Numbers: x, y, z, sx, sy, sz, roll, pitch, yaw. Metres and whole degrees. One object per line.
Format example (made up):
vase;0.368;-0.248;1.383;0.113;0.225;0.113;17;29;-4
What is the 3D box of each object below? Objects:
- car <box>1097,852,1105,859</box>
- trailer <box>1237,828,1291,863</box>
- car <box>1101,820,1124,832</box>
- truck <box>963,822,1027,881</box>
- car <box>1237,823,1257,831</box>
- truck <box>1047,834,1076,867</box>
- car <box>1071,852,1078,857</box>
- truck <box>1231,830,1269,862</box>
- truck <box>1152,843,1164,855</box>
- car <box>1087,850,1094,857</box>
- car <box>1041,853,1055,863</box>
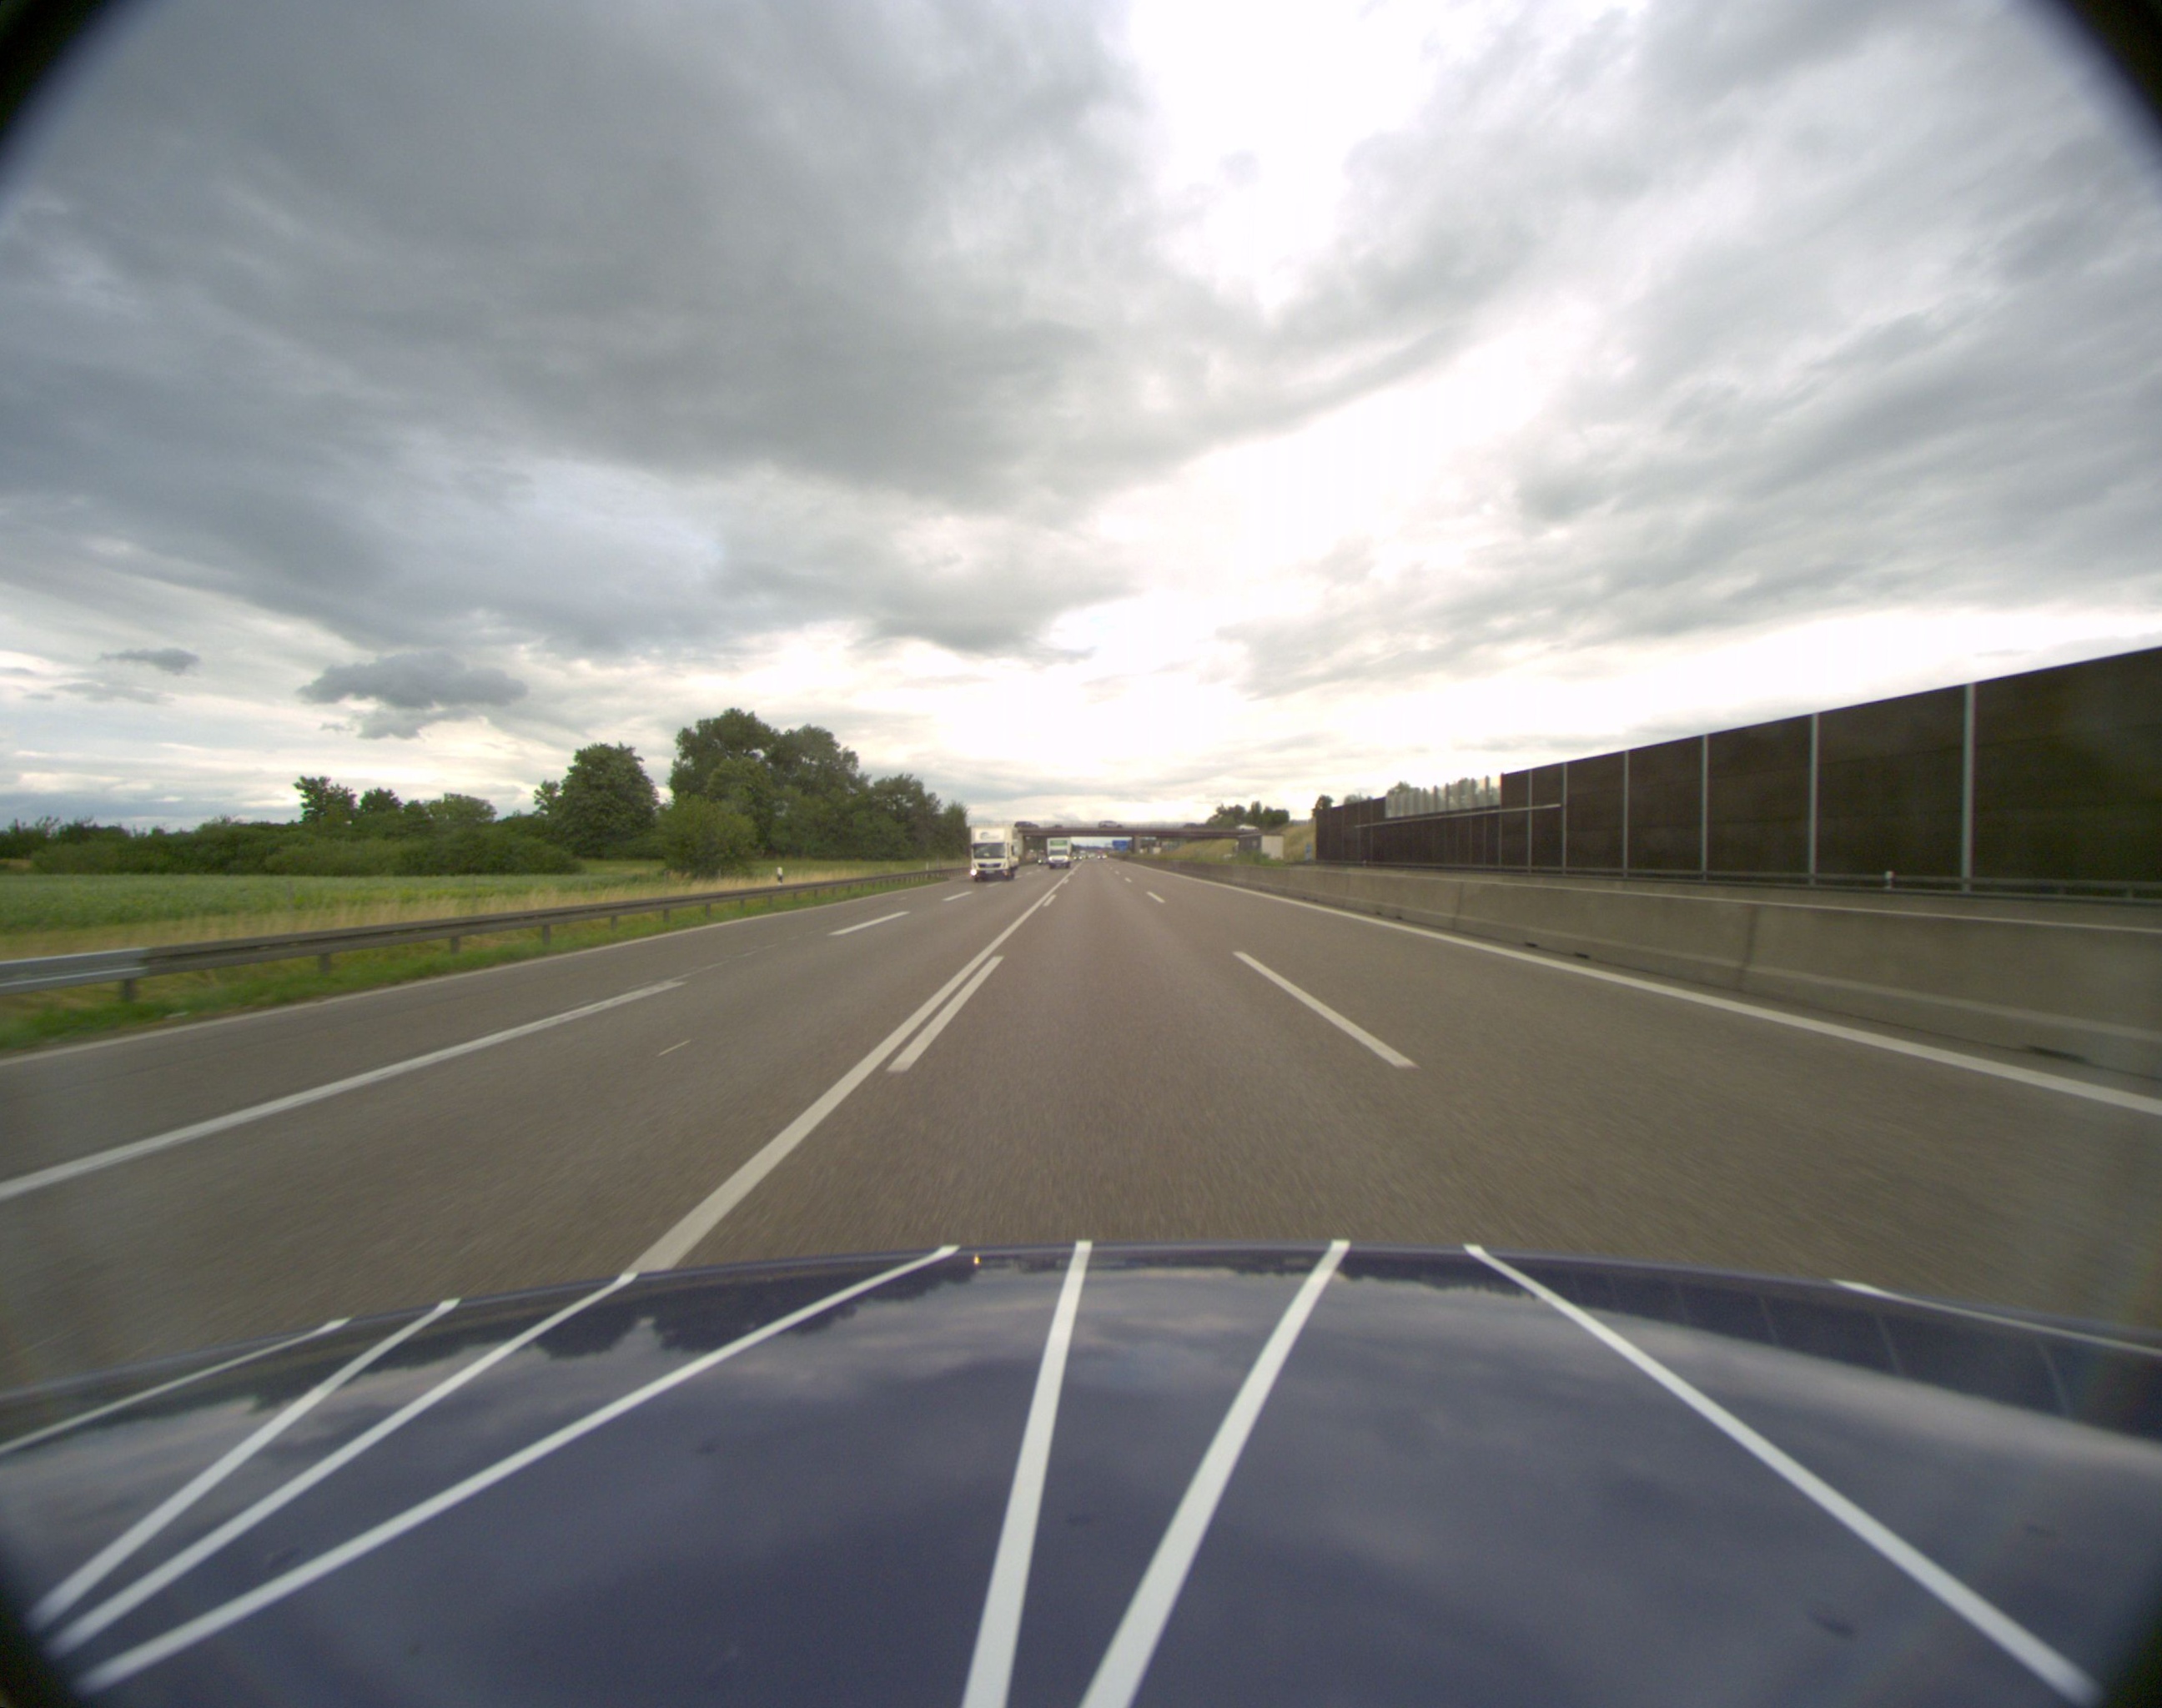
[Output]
car;5.537;0.430;209.403;1.998;2.002;4.000;0;0;1
trailer;22.325;-1.009;93.698;3.680;3.957;12.678;-2;0;1
car;6.090;-5.426;146.994;3.999;2.002;1.999;-2;1;-7
truck;-5.503;-0.182;50.242;3.112;3.450;8.889;-2;0;0
car;32.394;-5.214;148.297;3.341;1.439;1.659;-1;1;-11
truck;-2.072;-0.380;85.718;2.777;3.484;9.062;-2;0;1
car;-1.535;0.212;180.704;1.781;1.180;4.000;0;0;1
truck;22.453;-1.050;101.382;3.677;3.925;6.013;-2;0;1
truck;25.389;-1.687;251.405;3.005;3.662;13.008;-1;1;1
car;2.882;-0.229;226.320;1.998;2.002;4.000;0;0;1
car;-5.069;0.572;116.895;1.922;1.541;4.923;0;0;-1
